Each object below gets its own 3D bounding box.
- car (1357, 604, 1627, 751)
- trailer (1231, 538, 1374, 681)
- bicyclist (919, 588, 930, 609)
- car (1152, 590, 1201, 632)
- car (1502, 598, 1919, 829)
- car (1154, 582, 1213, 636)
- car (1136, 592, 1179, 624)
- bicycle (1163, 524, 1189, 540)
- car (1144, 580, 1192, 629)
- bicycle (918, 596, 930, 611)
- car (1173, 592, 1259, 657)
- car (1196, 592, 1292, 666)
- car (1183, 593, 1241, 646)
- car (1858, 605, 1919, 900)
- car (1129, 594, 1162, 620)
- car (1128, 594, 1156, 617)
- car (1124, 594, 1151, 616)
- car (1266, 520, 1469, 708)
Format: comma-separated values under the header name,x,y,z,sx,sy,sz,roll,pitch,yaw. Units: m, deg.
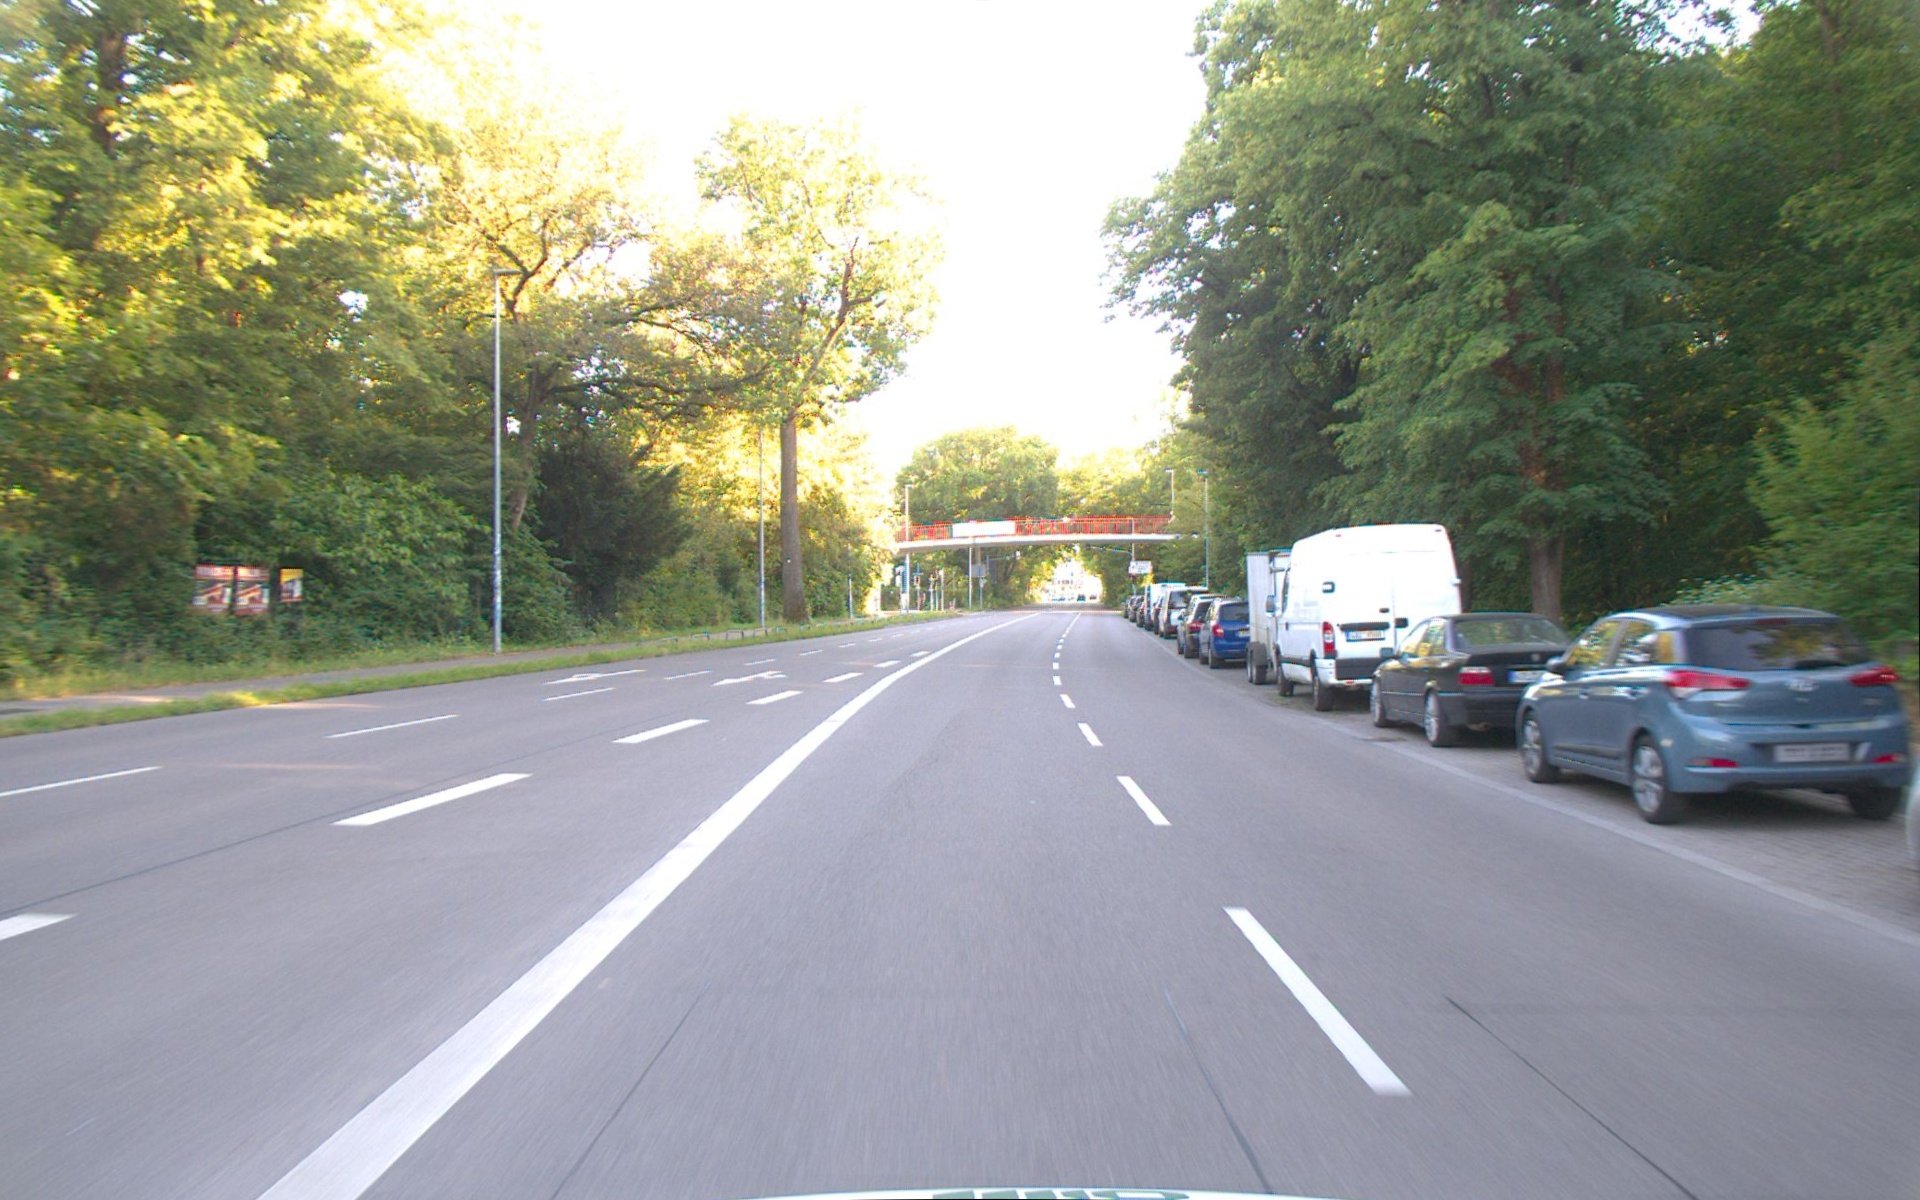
name,x,y,z,sx,sy,sz,roll,pitch,yaw
car,5.805,0.775,18.631,1.643,1.425,4.651,-1,0,2
trailer,6.405,0.171,31.478,1.864,2.466,5.128,-1,0,3
bicyclist,-2.800,-0.120,130.452,0.697,1.586,1.143,1,-1,4
car,8.649,0.427,66.226,1.722,1.574,4.431,-1,0,5
car,5.666,0.754,12.885,1.643,1.489,4.067,-1,0,2
car,8.070,0.328,59.919,1.722,1.836,4.739,-1,0,3
car,9.422,0.369,79.130,1.829,1.431,4.371,-1,0,5
bicycle,16.591,-5.190,126.954,1.945,1.167,0.715,1,-1,3
car,9.068,0.196,72.543,1.829,2.016,5.478,-1,0,5
bicycle,-2.819,0.292,130.448,0.697,1.167,1.994,1,-1,4
car,6.665,0.617,43.439,1.722,1.562,4.991,-1,0,3
car,6.410,0.622,37.671,1.642,1.562,4.355,-1,0,3
car,7.593,0.587,50.077,1.552,1.521,3.182,-1,0,6
car,5.659,0.757,7.079,1.643,1.489,3.689,-1,0,1
car,10.679,0.400,95.278,1.603,1.479,4.900,-1,0,3
car,11.909,0.356,108.156,1.736,1.479,4.017,-1,0,7
car,12.072,0.327,112.568,1.737,1.479,4.390,-1,0,5
car,5.918,0.196,24.706,1.864,2.466,5.578,-1,0,3
